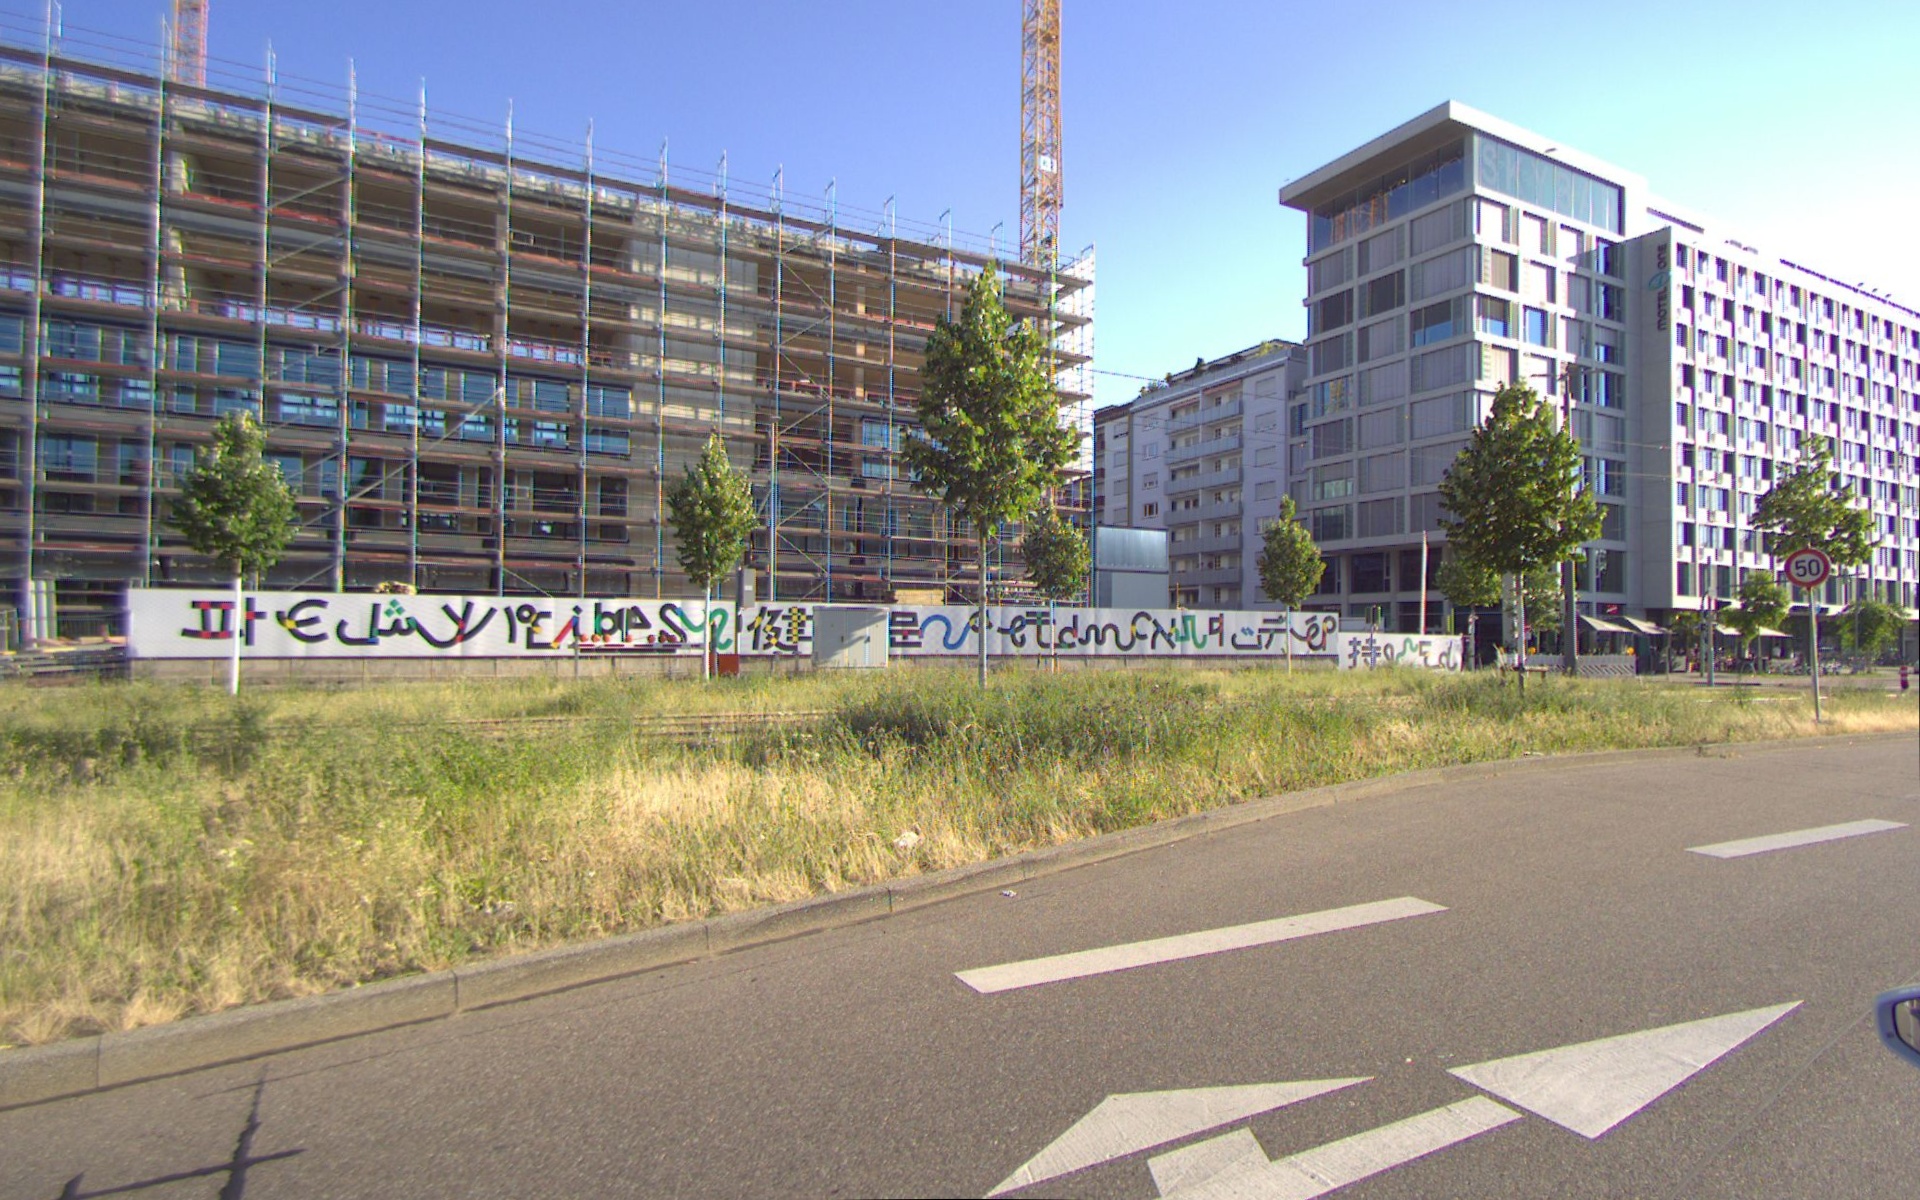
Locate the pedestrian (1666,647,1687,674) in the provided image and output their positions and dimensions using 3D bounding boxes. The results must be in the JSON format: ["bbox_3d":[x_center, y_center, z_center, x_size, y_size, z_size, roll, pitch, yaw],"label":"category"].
[{"bbox_3d":[47.959,4.061,67.263,0.791,1.744,0.868,1,-2,-19],"label":"pedestrian"}]

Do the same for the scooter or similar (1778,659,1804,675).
[{"bbox_3d":[55.205,4.433,66.756,0.504,1.032,1.239,2,-2,-27],"label":"scooter or similar"}]

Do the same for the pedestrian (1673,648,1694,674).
[{"bbox_3d":[48.680,4.084,67.575,0.791,1.744,0.868,1,-2,-19],"label":"pedestrian"}]

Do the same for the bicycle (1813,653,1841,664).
[{"bbox_3d":[73.860,4.980,85.581,0.506,0.917,1.793,2,-2,-34],"label":"bicycle"}]

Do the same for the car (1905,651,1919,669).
[{"bbox_3d":[74.044,4.605,76.604,3.951,1.345,1.749,2,-1,-28],"label":"car"}]

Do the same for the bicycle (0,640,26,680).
[{"bbox_3d":[-26.818,1.644,27.626,1.545,1.075,0.476,2,-2,-29],"label":"bicycle"}]

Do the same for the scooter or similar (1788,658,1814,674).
[{"bbox_3d":[56.512,4.418,67.512,0.429,1.032,1.239,2,-2,-27],"label":"scooter or similar"}]
